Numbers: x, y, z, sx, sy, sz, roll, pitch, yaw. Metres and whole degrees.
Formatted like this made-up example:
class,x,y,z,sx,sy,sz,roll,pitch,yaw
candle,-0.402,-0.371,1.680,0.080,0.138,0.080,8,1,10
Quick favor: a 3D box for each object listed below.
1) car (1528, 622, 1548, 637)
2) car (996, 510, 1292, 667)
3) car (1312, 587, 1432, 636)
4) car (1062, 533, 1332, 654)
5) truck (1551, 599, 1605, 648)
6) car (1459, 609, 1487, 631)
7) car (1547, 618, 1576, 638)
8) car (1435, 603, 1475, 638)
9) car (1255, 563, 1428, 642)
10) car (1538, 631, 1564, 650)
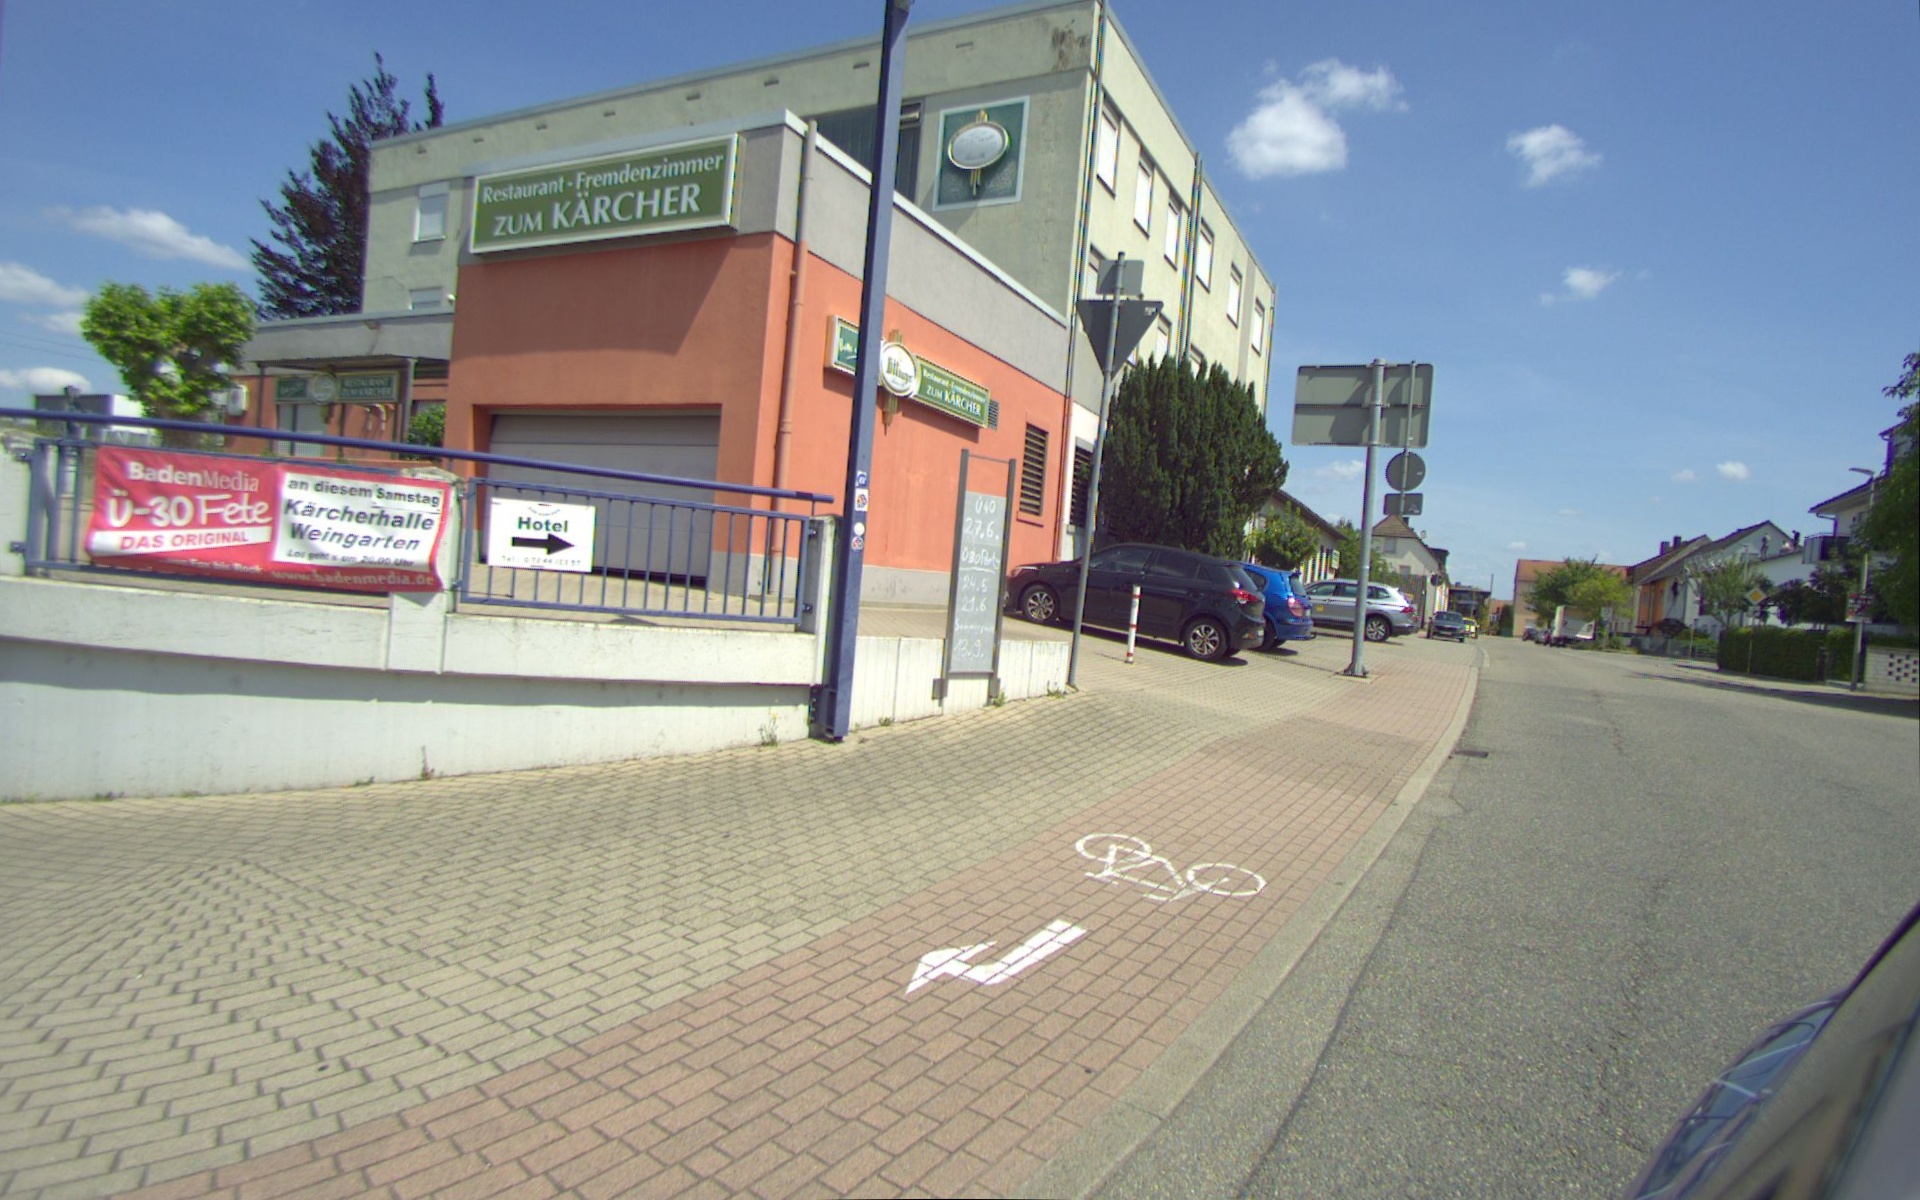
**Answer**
class,x,y,z,sx,sy,sz,roll,pitch,yaw
car,70.322,3.591,123.170,1.707,1.518,4.175,8,2,26
car,2.757,-0.239,15.226,3.877,1.506,1.793,13,6,26
car,17.636,0.480,43.382,4.504,1.471,1.899,8,2,28
car,4.210,-0.190,18.117,4.301,1.455,1.763,9,6,27
truck,47.744,1.777,78.347,2.423,3.284,6.974,9,3,25
car,39.258,1.526,77.417,1.708,1.414,4.174,10,3,27
car,53.861,2.538,90.648,1.707,1.518,4.175,8,2,26
car,25.197,1.043,51.529,1.618,1.507,4.101,6,1,26
car,11.094,0.045,29.470,4.427,1.717,1.905,8,2,26
car,56.274,3.824,96.414,1.707,1.518,4.175,8,2,26
